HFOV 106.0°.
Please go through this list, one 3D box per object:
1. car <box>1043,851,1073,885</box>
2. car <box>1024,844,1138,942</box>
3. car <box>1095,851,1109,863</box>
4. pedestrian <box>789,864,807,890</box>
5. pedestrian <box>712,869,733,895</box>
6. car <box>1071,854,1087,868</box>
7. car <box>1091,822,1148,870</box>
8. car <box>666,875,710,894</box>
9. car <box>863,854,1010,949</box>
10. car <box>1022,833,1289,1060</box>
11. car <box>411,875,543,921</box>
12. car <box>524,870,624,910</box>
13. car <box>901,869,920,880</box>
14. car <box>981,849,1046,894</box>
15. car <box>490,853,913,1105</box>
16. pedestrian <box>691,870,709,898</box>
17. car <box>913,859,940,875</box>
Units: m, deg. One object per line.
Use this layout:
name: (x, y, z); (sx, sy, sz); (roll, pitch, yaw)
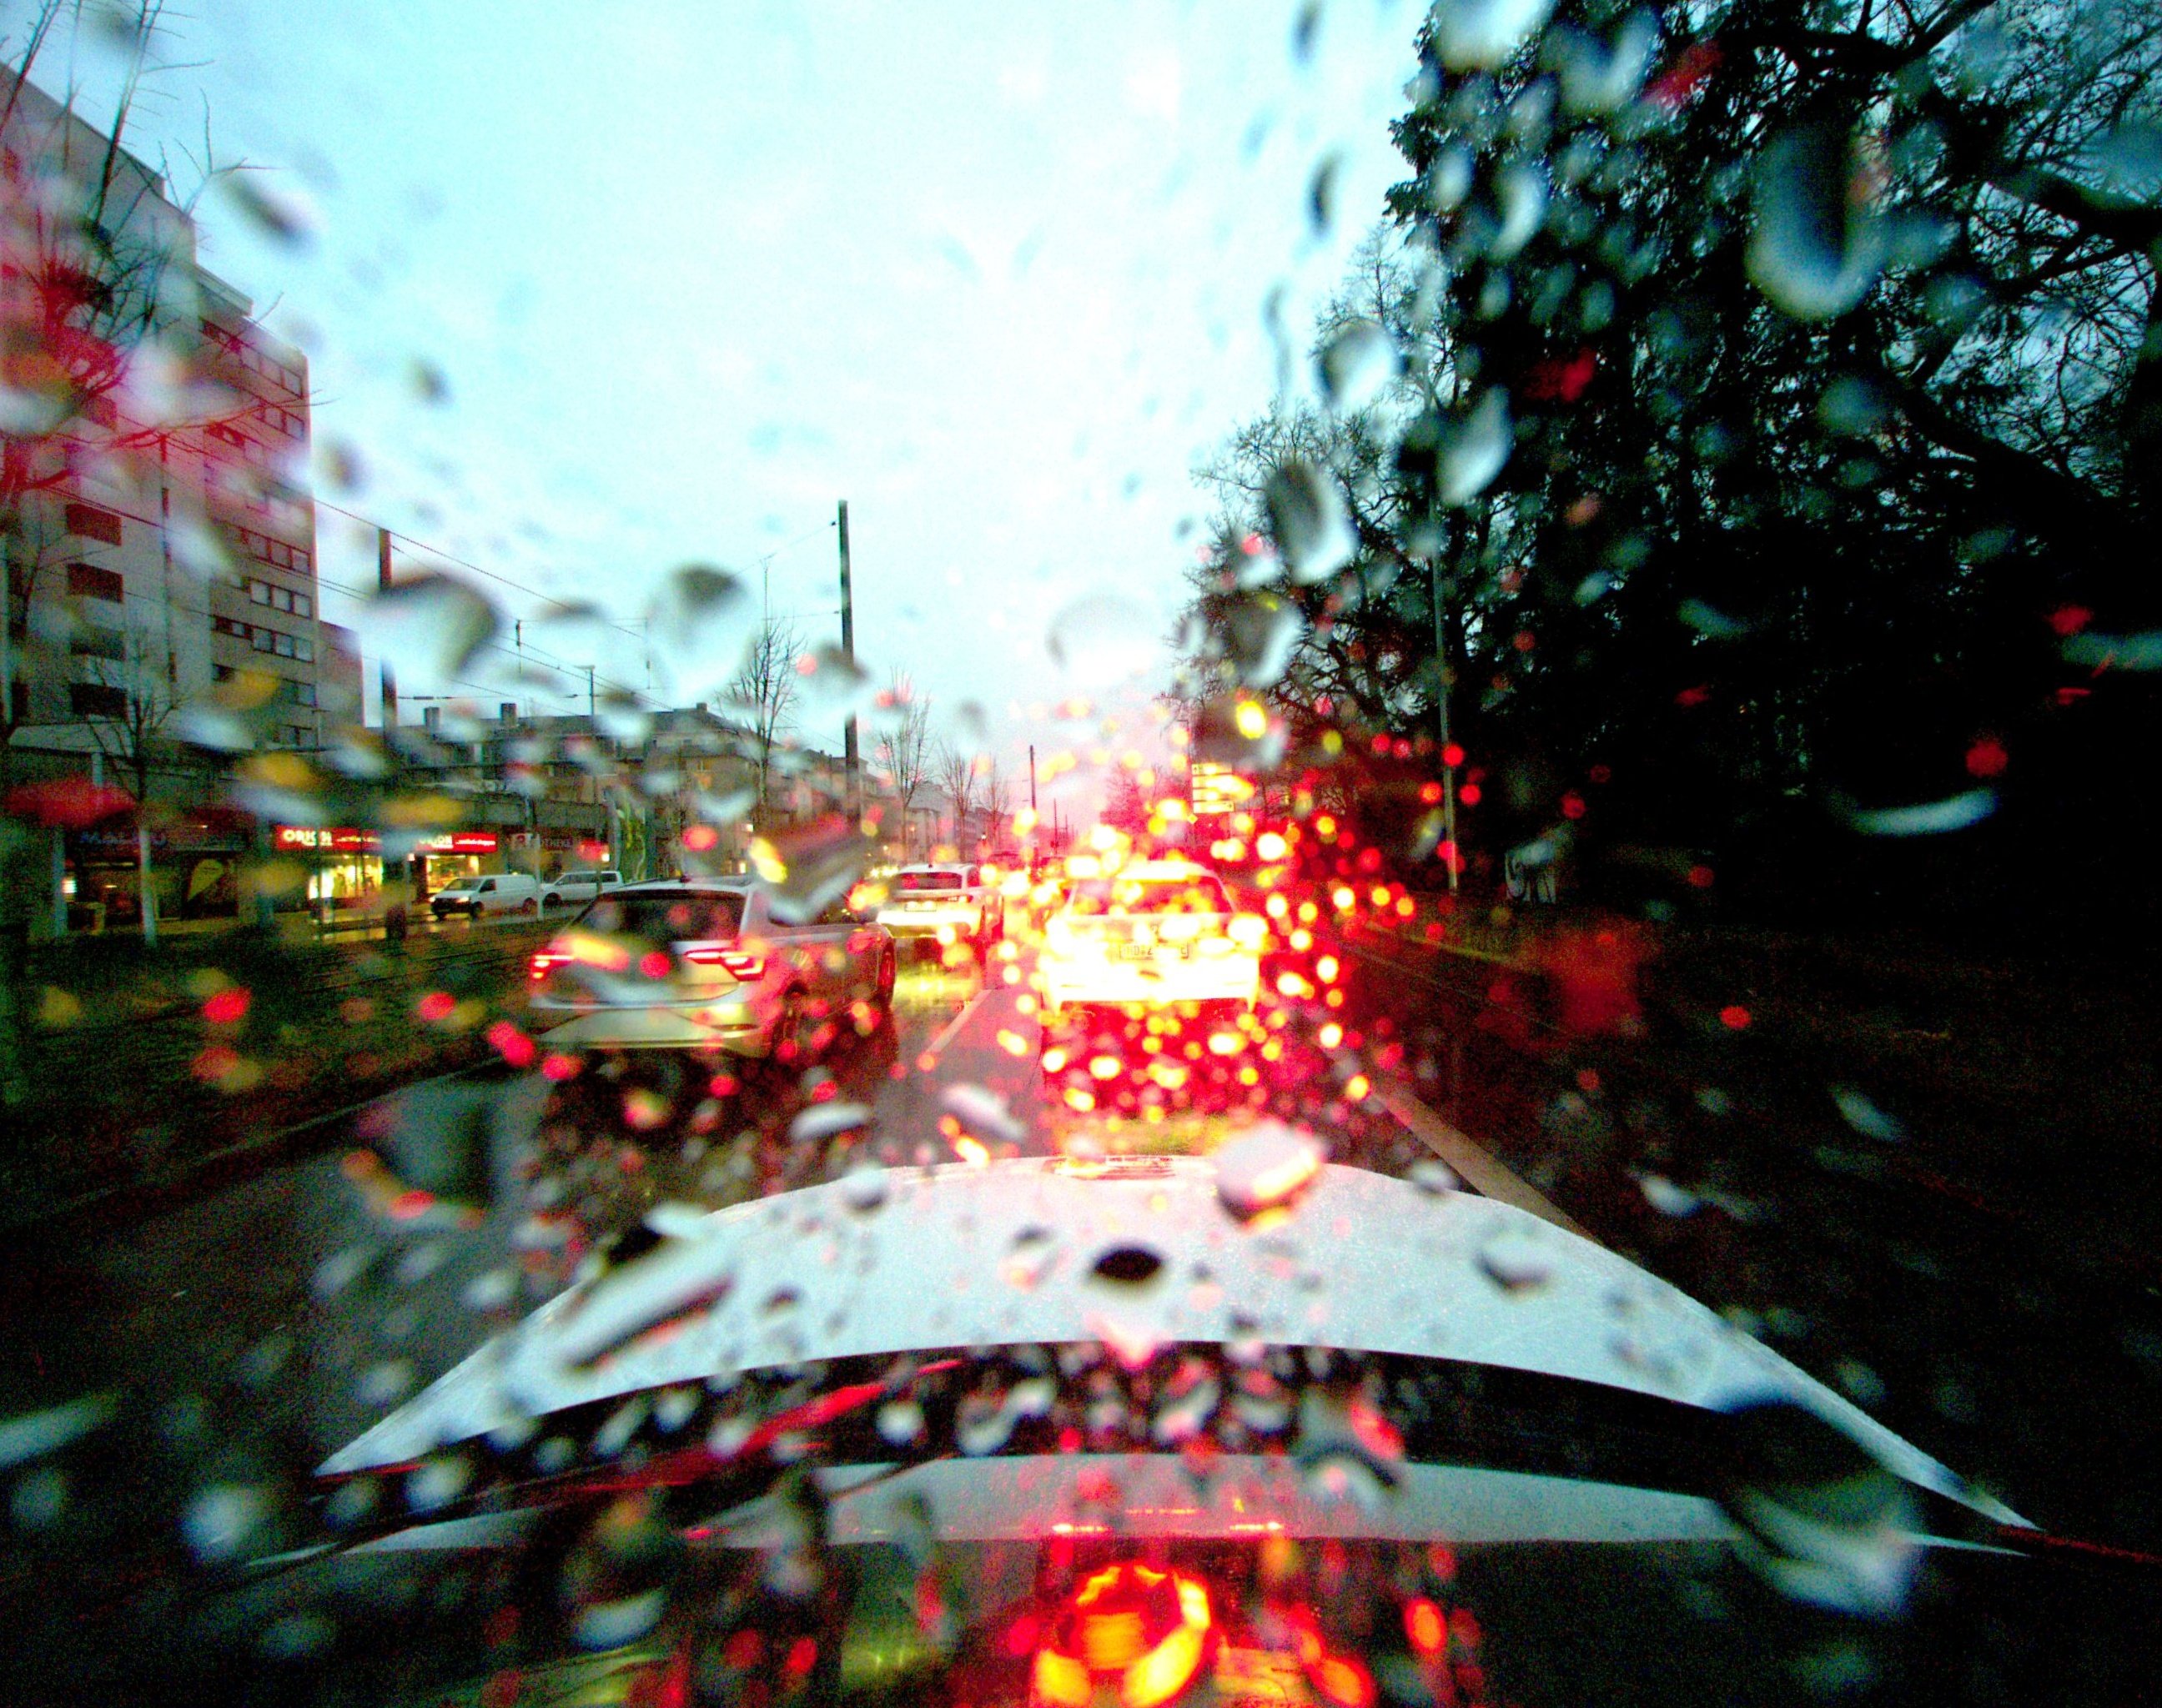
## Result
car: (-1.170, 0.701, 41.581); (1.501, 1.653, 2.843); (0, -1, -2)
car: (0.068, 0.642, 15.147); (1.793, 1.511, 3.897); (-2, 0, 2)
car: (2.672, 0.395, 102.098); (1.731, 1.419, 4.147); (-3, 0, 2)
pedestrian: (-22.814, 1.836, 65.642); (1.274, 2.013, 1.000); (-2, 0, -23)
pedestrian: (-28.319, 2.183, 64.322); (0.951, 2.013, 1.012); (-2, 0, 18)
car: (-0.184, 0.645, 74.361); (1.359, 1.316, 2.715); (0, -1, -1)
car: (1.273, -0.259, 27.440); (1.731, 1.419, 3.704); (-3, 0, 2)
car: (-40.674, 3.146, 84.329); (3.744, 1.942, 1.838); (0, -1, -7)
car: (-2.547, 0.769, 15.548); (1.792, 1.466, 4.587); (-3, 0, 2)
car: (0.611, 0.667, 8.332); (1.855, 1.556, 4.940); (-3, 0, 2)
car: (-29.705, 2.095, 40.341); (1.983, 2.046, 5.575); (0, -1, 6)
car: (-30.704, 2.100, 49.445); (4.859, 2.244, 1.975); (0, -1, -44)
car: (-20.614, 2.470, 98.677); (1.688, 1.277, 4.141); (-2, 0, -4)
car: (-2.295, 0.571, 28.822); (1.731, 1.419, 4.395); (-3, 0, 2)
car: (-2.776, 0.779, 7.067); (1.687, 1.533, 4.001); (-1, 0, 1)
pedestrian: (-27.925, 2.175, 59.722); (1.072, 2.013, 1.000); (-2, 0, -23)
car: (-16.131, 1.376, 85.148); (1.987, 1.602, 4.000); (0, -1, 1)
